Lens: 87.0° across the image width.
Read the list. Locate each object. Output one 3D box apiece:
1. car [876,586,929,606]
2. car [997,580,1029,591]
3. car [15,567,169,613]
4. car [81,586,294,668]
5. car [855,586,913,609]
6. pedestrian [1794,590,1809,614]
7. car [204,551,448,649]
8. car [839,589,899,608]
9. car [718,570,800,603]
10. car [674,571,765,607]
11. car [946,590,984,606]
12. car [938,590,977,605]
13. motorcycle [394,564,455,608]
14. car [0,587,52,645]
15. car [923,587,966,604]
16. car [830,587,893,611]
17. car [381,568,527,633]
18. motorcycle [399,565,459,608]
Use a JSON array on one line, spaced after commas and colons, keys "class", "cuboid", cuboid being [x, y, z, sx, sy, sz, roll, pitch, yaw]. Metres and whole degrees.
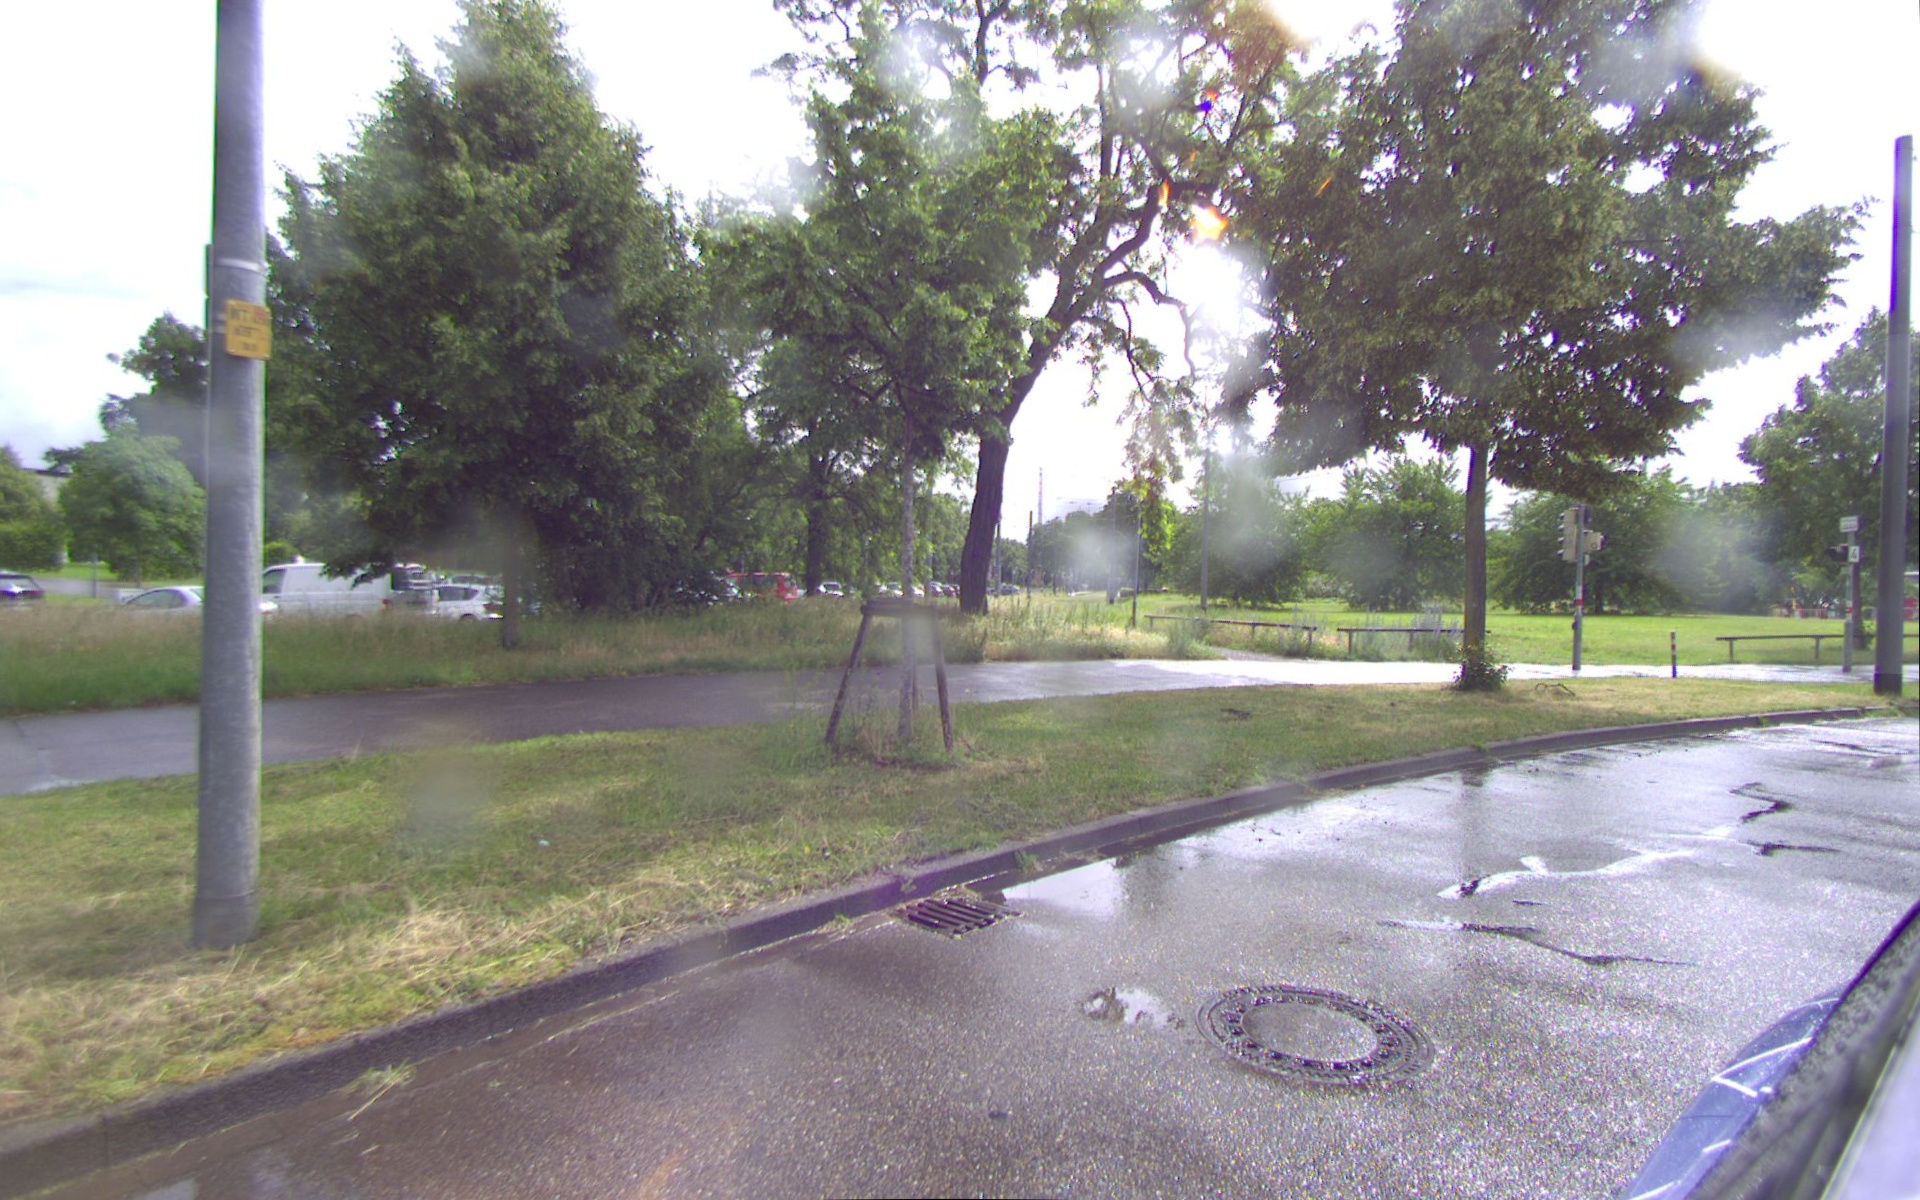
[{"class": "car", "cuboid": [-4.629, -0.334, 81.075, 3.916, 1.579, 1.845, 1, 1, 11]}, {"class": "car", "cuboid": [7.541, -2.072, 144.354, 4.334, 1.579, 1.845, 1, 1, 11]}, {"class": "car", "cuboid": [-25.469, -0.314, 29.739, 3.525, 1.251, 1.658, 1, 1, 12]}, {"class": "car", "cuboid": [-15.785, 0.511, 20.734, 3.567, 1.529, 1.602, 1, 1, 14]}, {"class": "car", "cuboid": [-5.565, -0.201, 74.377, 3.916, 1.579, 1.845, 1, 1, 11]}, {"class": "pedestrian", "cuboid": [62.996, 0.179, 75.786, 0.594, 1.754, 0.599, 2, -1, 1]}, {"class": "car", "cuboid": [-15.273, -0.052, 24.434, 5.087, 2.083, 2.104, 2, 2, 15]}, {"class": "car", "cuboid": [-6.435, -0.116, 71.730, 3.916, 1.324, 1.845, 1, 1, 11]}, {"class": "car", "cuboid": [-9.895, -0.673, 49.915, 3.599, 1.529, 1.642, 1, 1, 16]}, {"class": "car", "cuboid": [-10.662, -0.487, 44.923, 3.557, 1.480, 1.639, 1, 1, 14]}, {"class": "car", "cuboid": [0.540, -0.221, 109.764, 3.916, 1.579, 1.845, 1, 1, 11]}, {"class": "car", "cuboid": [-0.271, -0.288, 107.410, 3.916, 1.579, 1.845, 1, 1, 11]}, {"class": "motorcycle", "cuboid": [-22.996, -0.585, 43.461, 2.310, 1.790, 0.658, 2, -1, 8]}, {"class": "car", "cuboid": [-26.091, 0.332, 26.511, 3.527, 1.362, 1.657, 4, 1, 12]}, {"class": "car", "cuboid": [-1.531, -0.475, 98.519, 3.916, 1.579, 1.845, 1, 1, 11]}, {"class": "car", "cuboid": [-6.707, -0.093, 69.013, 3.916, 1.579, 1.845, 1, 1, 11]}, {"class": "car", "cuboid": [-14.008, -0.016, 28.055, 3.550, 1.684, 1.522, 1, 1, 16]}, {"class": "motorcycle", "cuboid": [-23.190, -0.580, 44.219, 2.310, 1.790, 0.658, 2, -1, 8]}]
